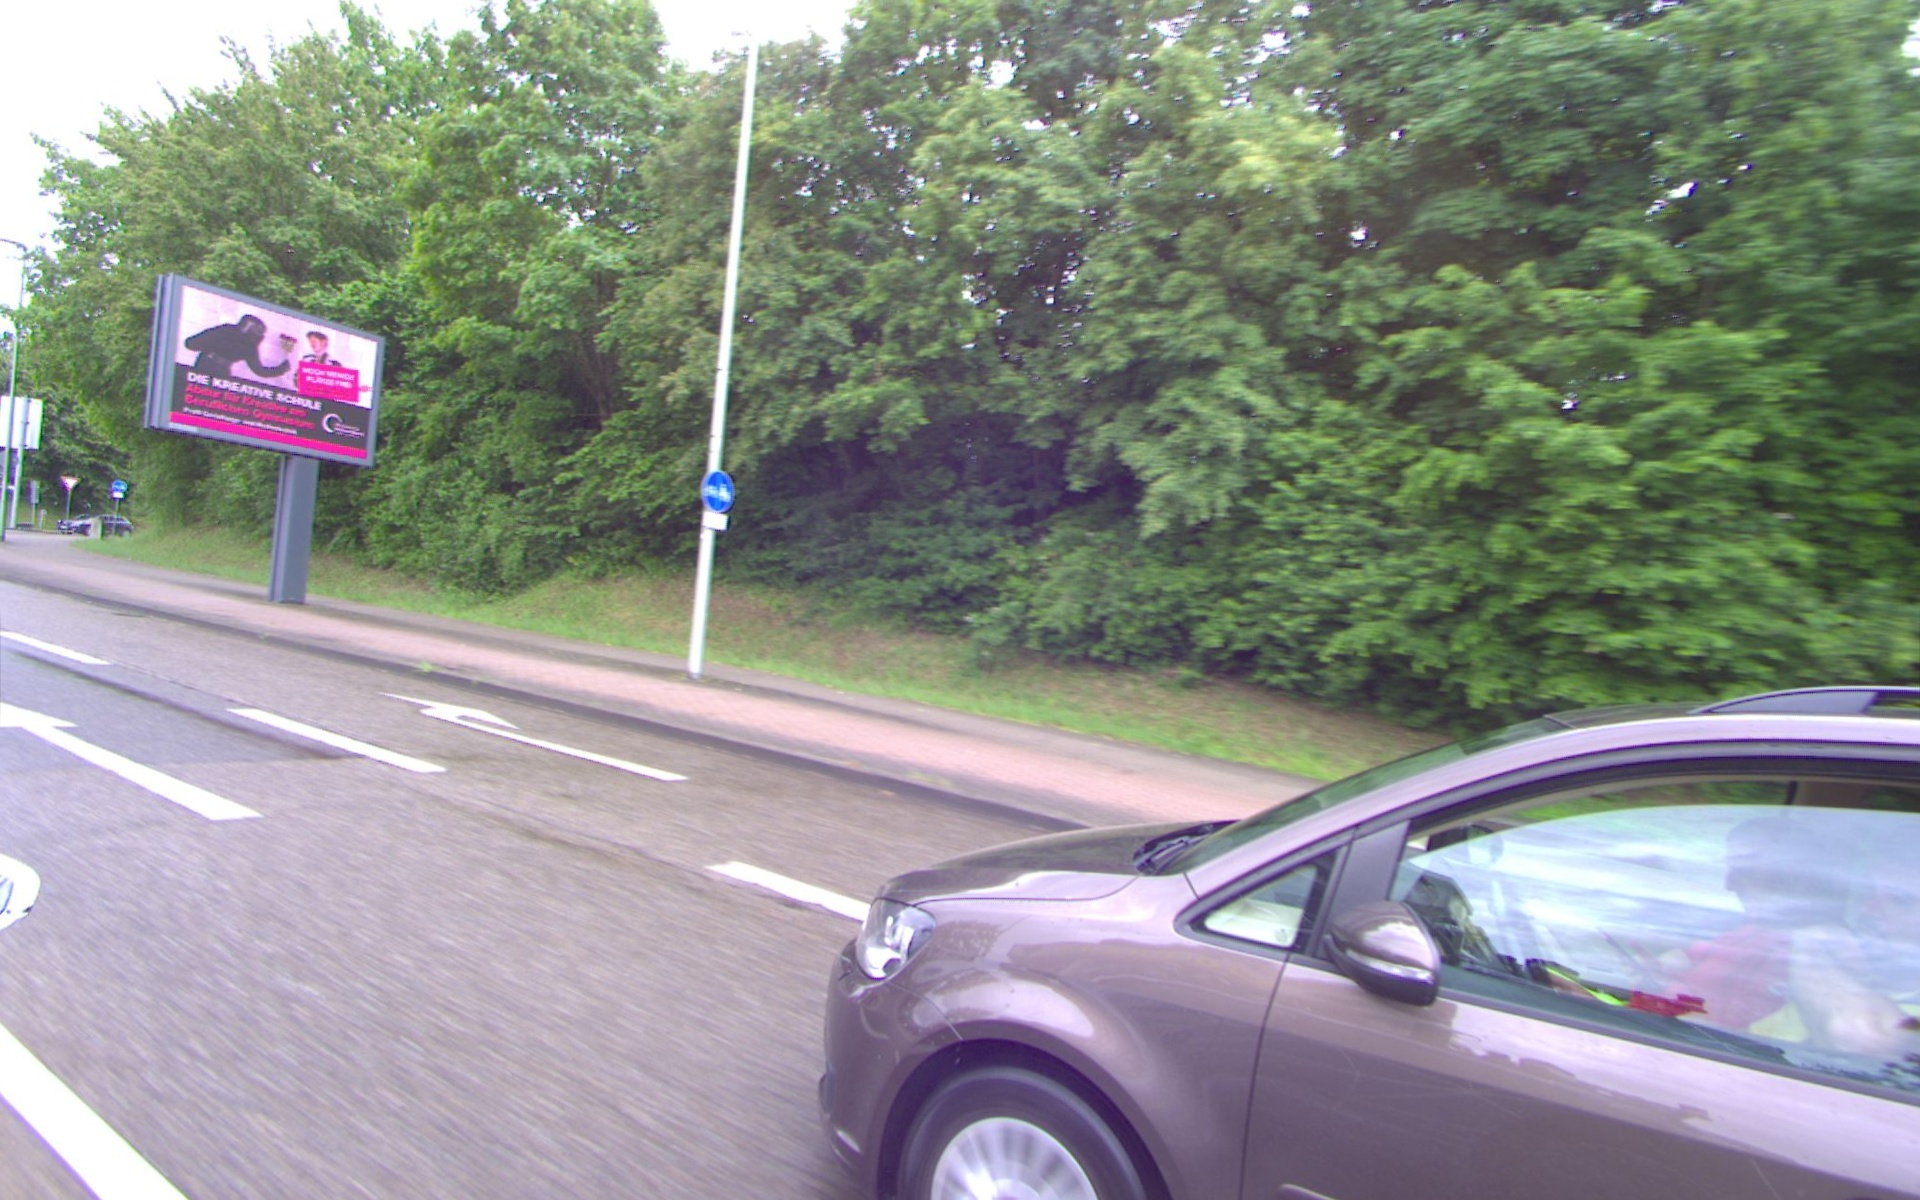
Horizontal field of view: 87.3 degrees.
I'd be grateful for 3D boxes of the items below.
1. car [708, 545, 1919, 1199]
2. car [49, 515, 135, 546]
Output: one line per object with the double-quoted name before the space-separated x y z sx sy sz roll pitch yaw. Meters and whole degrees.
"car" 1.656 0.958 2.110 4.060 1.615 1.717 7 -1 30
"car" -58.467 -4.666 67.860 1.865 1.485 4.331 6 -1 1
